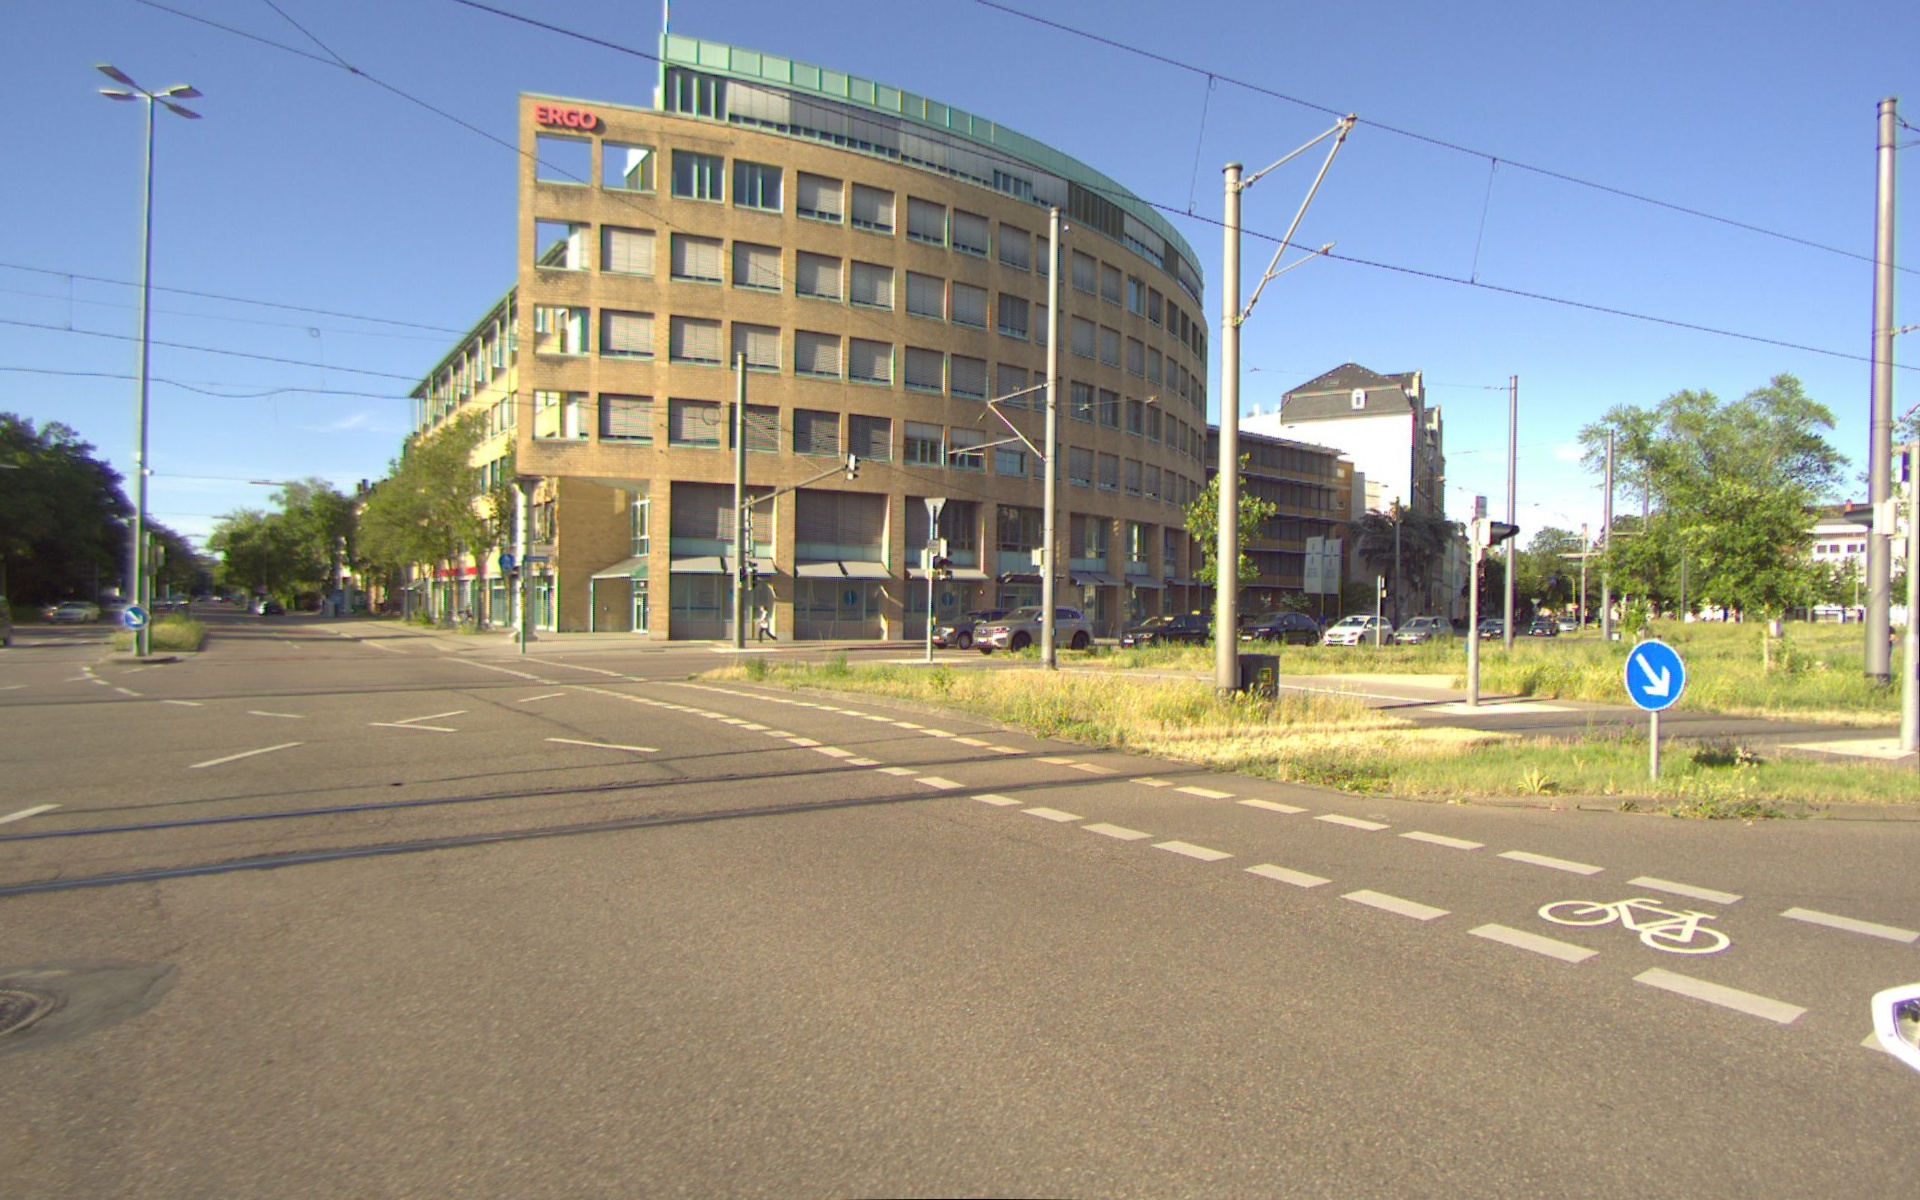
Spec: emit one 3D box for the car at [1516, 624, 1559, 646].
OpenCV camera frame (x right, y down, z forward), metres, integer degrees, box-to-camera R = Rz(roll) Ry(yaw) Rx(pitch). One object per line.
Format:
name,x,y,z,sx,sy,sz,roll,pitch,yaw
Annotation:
car,49.326,2.967,85.787,4.253,1.532,1.975,6,-2,-42

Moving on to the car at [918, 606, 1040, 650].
car,0.865,1.251,44.200,5.165,1.690,2.101,2,1,-38

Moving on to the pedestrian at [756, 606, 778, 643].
pedestrian,-8.279,1.046,43.070,0.704,1.552,0.594,2,1,-29

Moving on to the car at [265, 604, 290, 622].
car,-69.266,1.329,101.921,1.821,1.595,3.901,2,1,-37

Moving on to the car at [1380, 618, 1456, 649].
car,24.150,1.788,52.861,4.477,1.446,1.975,2,1,-42

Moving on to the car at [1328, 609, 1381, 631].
car,32.508,1.635,82.718,3.923,1.602,1.999,4,1,23

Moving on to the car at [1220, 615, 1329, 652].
car,14.080,1.510,44.893,4.970,1.467,1.980,3,1,-35

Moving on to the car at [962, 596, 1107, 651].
car,2.667,0.823,35.334,5.043,1.757,2.082,2,0,-39

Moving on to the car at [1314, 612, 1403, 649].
car,19.477,1.520,49.027,4.617,1.617,1.977,2,1,-39

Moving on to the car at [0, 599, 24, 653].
car,-33.407,0.818,34.100,1.820,1.595,3.904,2,1,-35

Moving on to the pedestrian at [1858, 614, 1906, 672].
pedestrian,27.876,1.294,30.370,0.731,1.693,0.734,2,0,-12

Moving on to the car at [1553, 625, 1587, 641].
car,60.210,3.204,99.082,1.972,1.372,4.741,3,2,43

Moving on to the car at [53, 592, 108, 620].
car,-58.267,0.358,66.623,1.748,1.595,4.675,2,1,-30

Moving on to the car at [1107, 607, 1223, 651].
car,8.128,1.163,39.667,4.623,1.537,1.977,2,1,-39

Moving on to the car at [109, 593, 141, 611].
car,-85.859,0.228,103.308,1.816,1.595,3.911,3,1,-30
